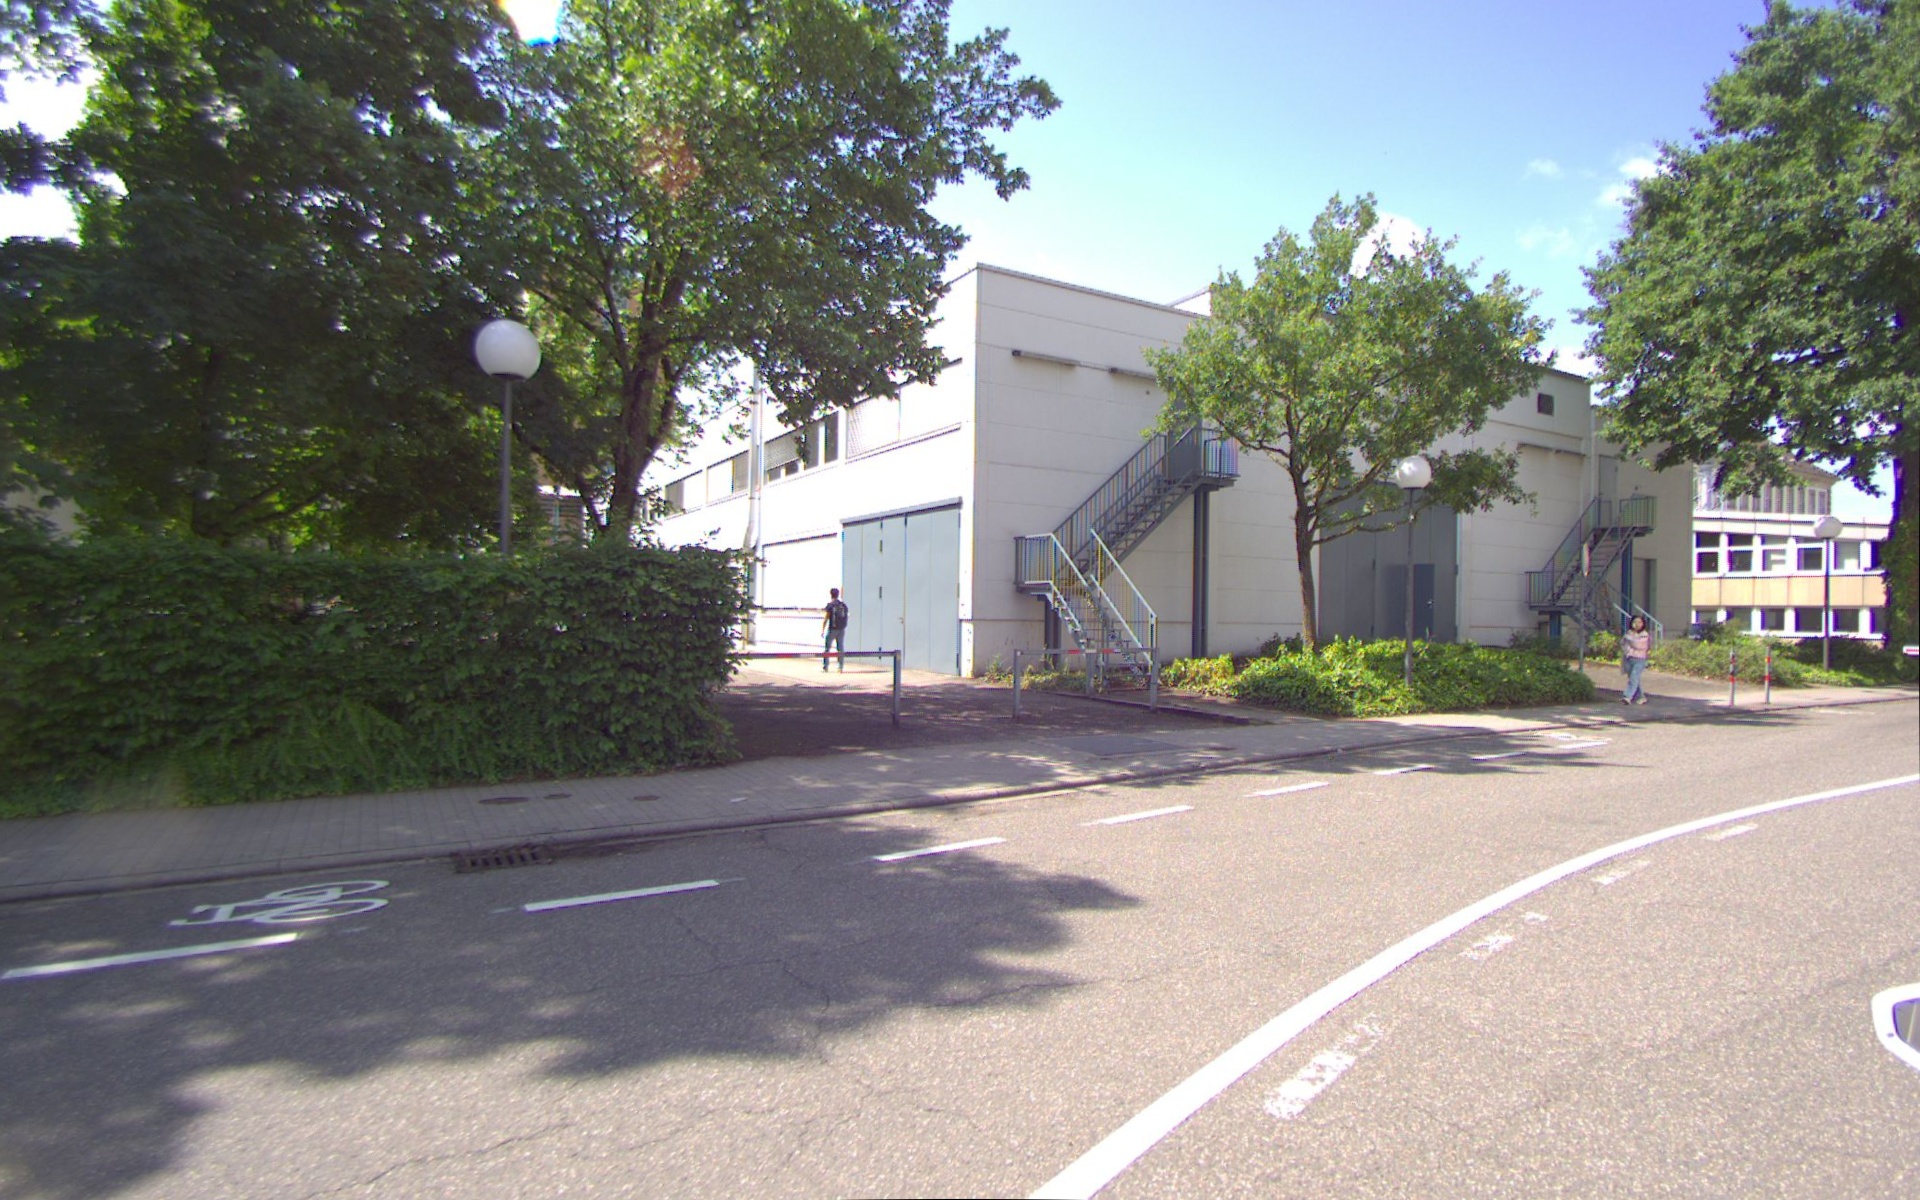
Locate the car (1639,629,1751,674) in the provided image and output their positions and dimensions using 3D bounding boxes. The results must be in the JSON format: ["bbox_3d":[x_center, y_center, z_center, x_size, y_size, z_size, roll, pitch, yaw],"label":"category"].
[{"bbox_3d":[26.442,1.807,36.091,4.251,1.486,1.819,1,-1,-32],"label":"car"}]

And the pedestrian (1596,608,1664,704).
[{"bbox_3d":[11.870,0.976,17.790,0.874,1.648,0.709,1,-1,-32],"label":"pedestrian"}]

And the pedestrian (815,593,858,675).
[{"bbox_3d":[-2.591,0.702,21.061,0.658,1.670,0.762,0,0,-30],"label":"pedestrian"}]

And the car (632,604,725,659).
[{"bbox_3d":[-9.367,0.977,33.129,1.975,1.676,4.901,0,0,-28],"label":"car"}]
